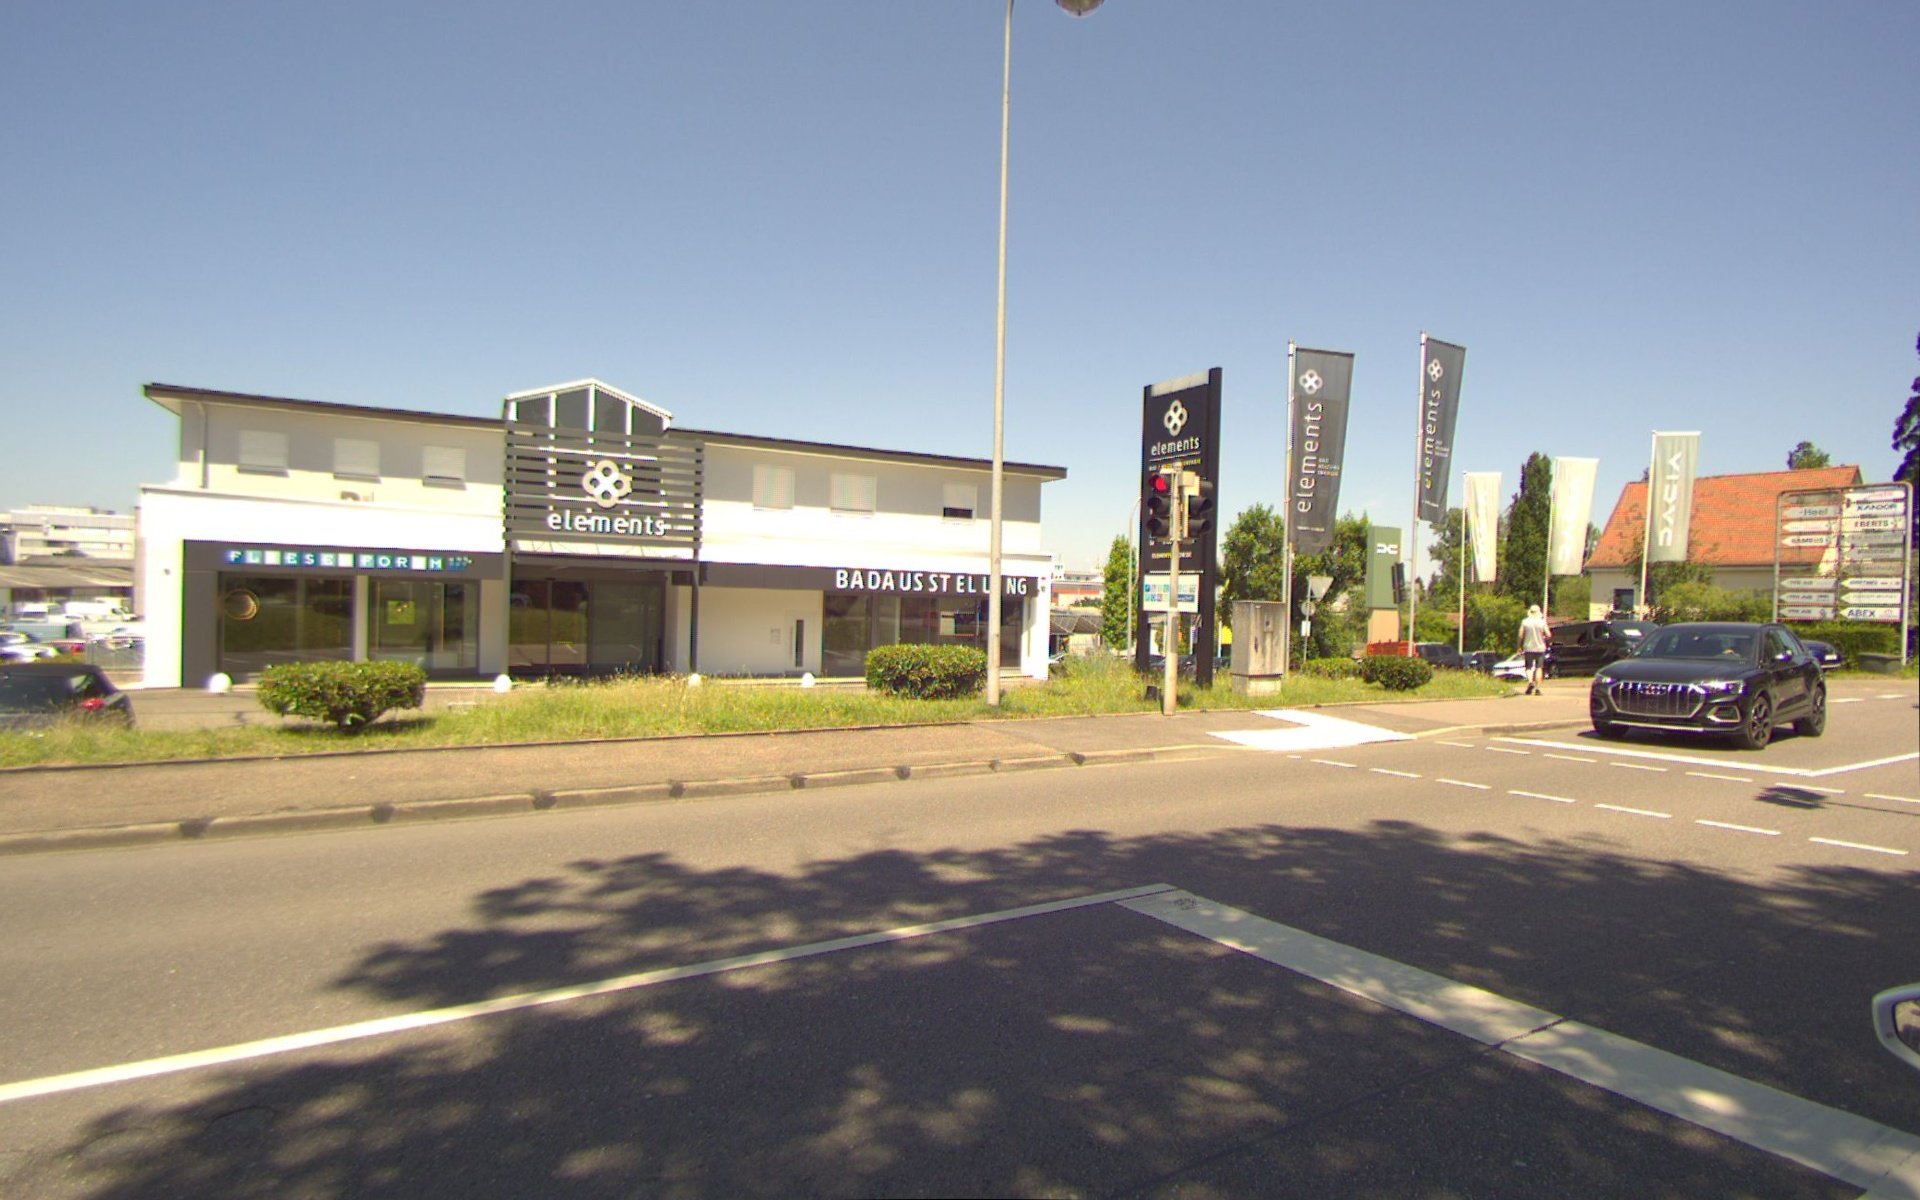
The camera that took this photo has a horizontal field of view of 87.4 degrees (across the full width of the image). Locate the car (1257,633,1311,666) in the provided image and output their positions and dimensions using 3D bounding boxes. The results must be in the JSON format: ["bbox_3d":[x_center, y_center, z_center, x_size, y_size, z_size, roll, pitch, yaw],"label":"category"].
[{"bbox_3d":[18.809,2.859,58.251,1.785,1.744,4.075,2,0,36],"label":"car"}]

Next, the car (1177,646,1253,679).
[{"bbox_3d":[12.155,2.962,47.850,3.838,1.434,1.633,2,-1,-41],"label":"car"}]

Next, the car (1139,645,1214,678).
[{"bbox_3d":[10.839,3.027,50.219,3.973,1.506,1.735,2,-1,-44],"label":"car"}]

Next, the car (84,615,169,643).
[{"bbox_3d":[-55.264,1.926,66.682,4.004,1.778,1.719,2,-1,-28],"label":"car"}]

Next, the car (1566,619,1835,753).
[{"bbox_3d":[10.474,1.097,14.108,4.263,1.576,1.912,2,-1,-37],"label":"car"}]

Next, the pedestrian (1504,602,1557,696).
[{"bbox_3d":[11.089,0.944,19.547,0.689,1.785,0.545,1,0,-4],"label":"pedestrian"}]

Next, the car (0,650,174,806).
[{"bbox_3d":[-11.795,1.506,12.852,1.746,1.553,4.076,1,-1,-24],"label":"car"}]

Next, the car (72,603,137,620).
[{"bbox_3d":[-95.743,1.308,112.494,5.236,1.778,2.051,2,-1,-28],"label":"car"}]

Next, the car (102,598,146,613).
[{"bbox_3d":[-99.649,0.676,119.765,3.726,1.778,1.719,2,-1,-28],"label":"car"}]

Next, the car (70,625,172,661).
[{"bbox_3d":[-43.273,2.221,51.896,3.726,1.778,1.719,2,-1,-28],"label":"car"}]

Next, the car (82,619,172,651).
[{"bbox_3d":[-49.206,2.075,59.420,3.726,1.778,1.719,2,-1,-28],"label":"car"}]

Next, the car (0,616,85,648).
[{"bbox_3d":[-54.813,1.910,59.817,3.726,1.778,1.719,2,-1,-28],"label":"car"}]

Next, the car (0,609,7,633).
[{"bbox_3d":[-74.805,1.558,75.848,3.726,1.778,1.719,2,1,-28],"label":"car"}]

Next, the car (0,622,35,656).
[{"bbox_3d":[-51.420,2.030,52.793,3.726,1.778,1.719,2,-1,-28],"label":"car"}]

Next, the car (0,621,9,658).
[{"bbox_3d":[-49.198,1.922,48.971,3.726,1.778,1.719,2,-1,-28],"label":"car"}]

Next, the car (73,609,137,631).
[{"bbox_3d":[-71.026,1.669,83.511,3.726,1.778,1.719,2,-1,-28],"label":"car"}]

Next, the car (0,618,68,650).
[{"bbox_3d":[-53.441,1.935,57.102,3.726,1.778,1.719,2,-1,-28],"label":"car"}]

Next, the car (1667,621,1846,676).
[{"bbox_3d":[24.943,1.483,31.640,1.751,1.524,4.129,1,-1,-20],"label":"car"}]

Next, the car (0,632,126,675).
[{"bbox_3d":[-38.957,2.314,43.725,3.726,1.778,1.719,2,-1,-28],"label":"car"}]

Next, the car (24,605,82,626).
[{"bbox_3d":[-84.713,1.453,93.861,3.726,1.778,1.719,1,2,-28],"label":"car"}]

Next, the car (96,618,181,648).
[{"bbox_3d":[-50.627,2.049,61.989,3.726,1.778,1.719,2,-1,-28],"label":"car"}]

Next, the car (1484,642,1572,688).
[{"bbox_3d":[23.906,2.682,42.219,4.053,1.744,1.795,2,0,-38],"label":"car"}]

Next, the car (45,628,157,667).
[{"bbox_3d":[-41.192,2.268,48.263,3.726,1.778,1.719,2,-1,-28],"label":"car"}]

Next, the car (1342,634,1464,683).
[{"bbox_3d":[16.935,2.240,38.431,4.022,1.744,1.808,2,0,-16],"label":"car"}]

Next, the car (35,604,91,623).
[{"bbox_3d":[-88.185,1.360,98.772,3.726,1.778,1.719,2,1,-28],"label":"car"}]

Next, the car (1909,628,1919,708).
[{"bbox_3d":[20.593,1.359,19.867,4.011,1.527,1.857,2,-1,-34],"label":"car"}]
